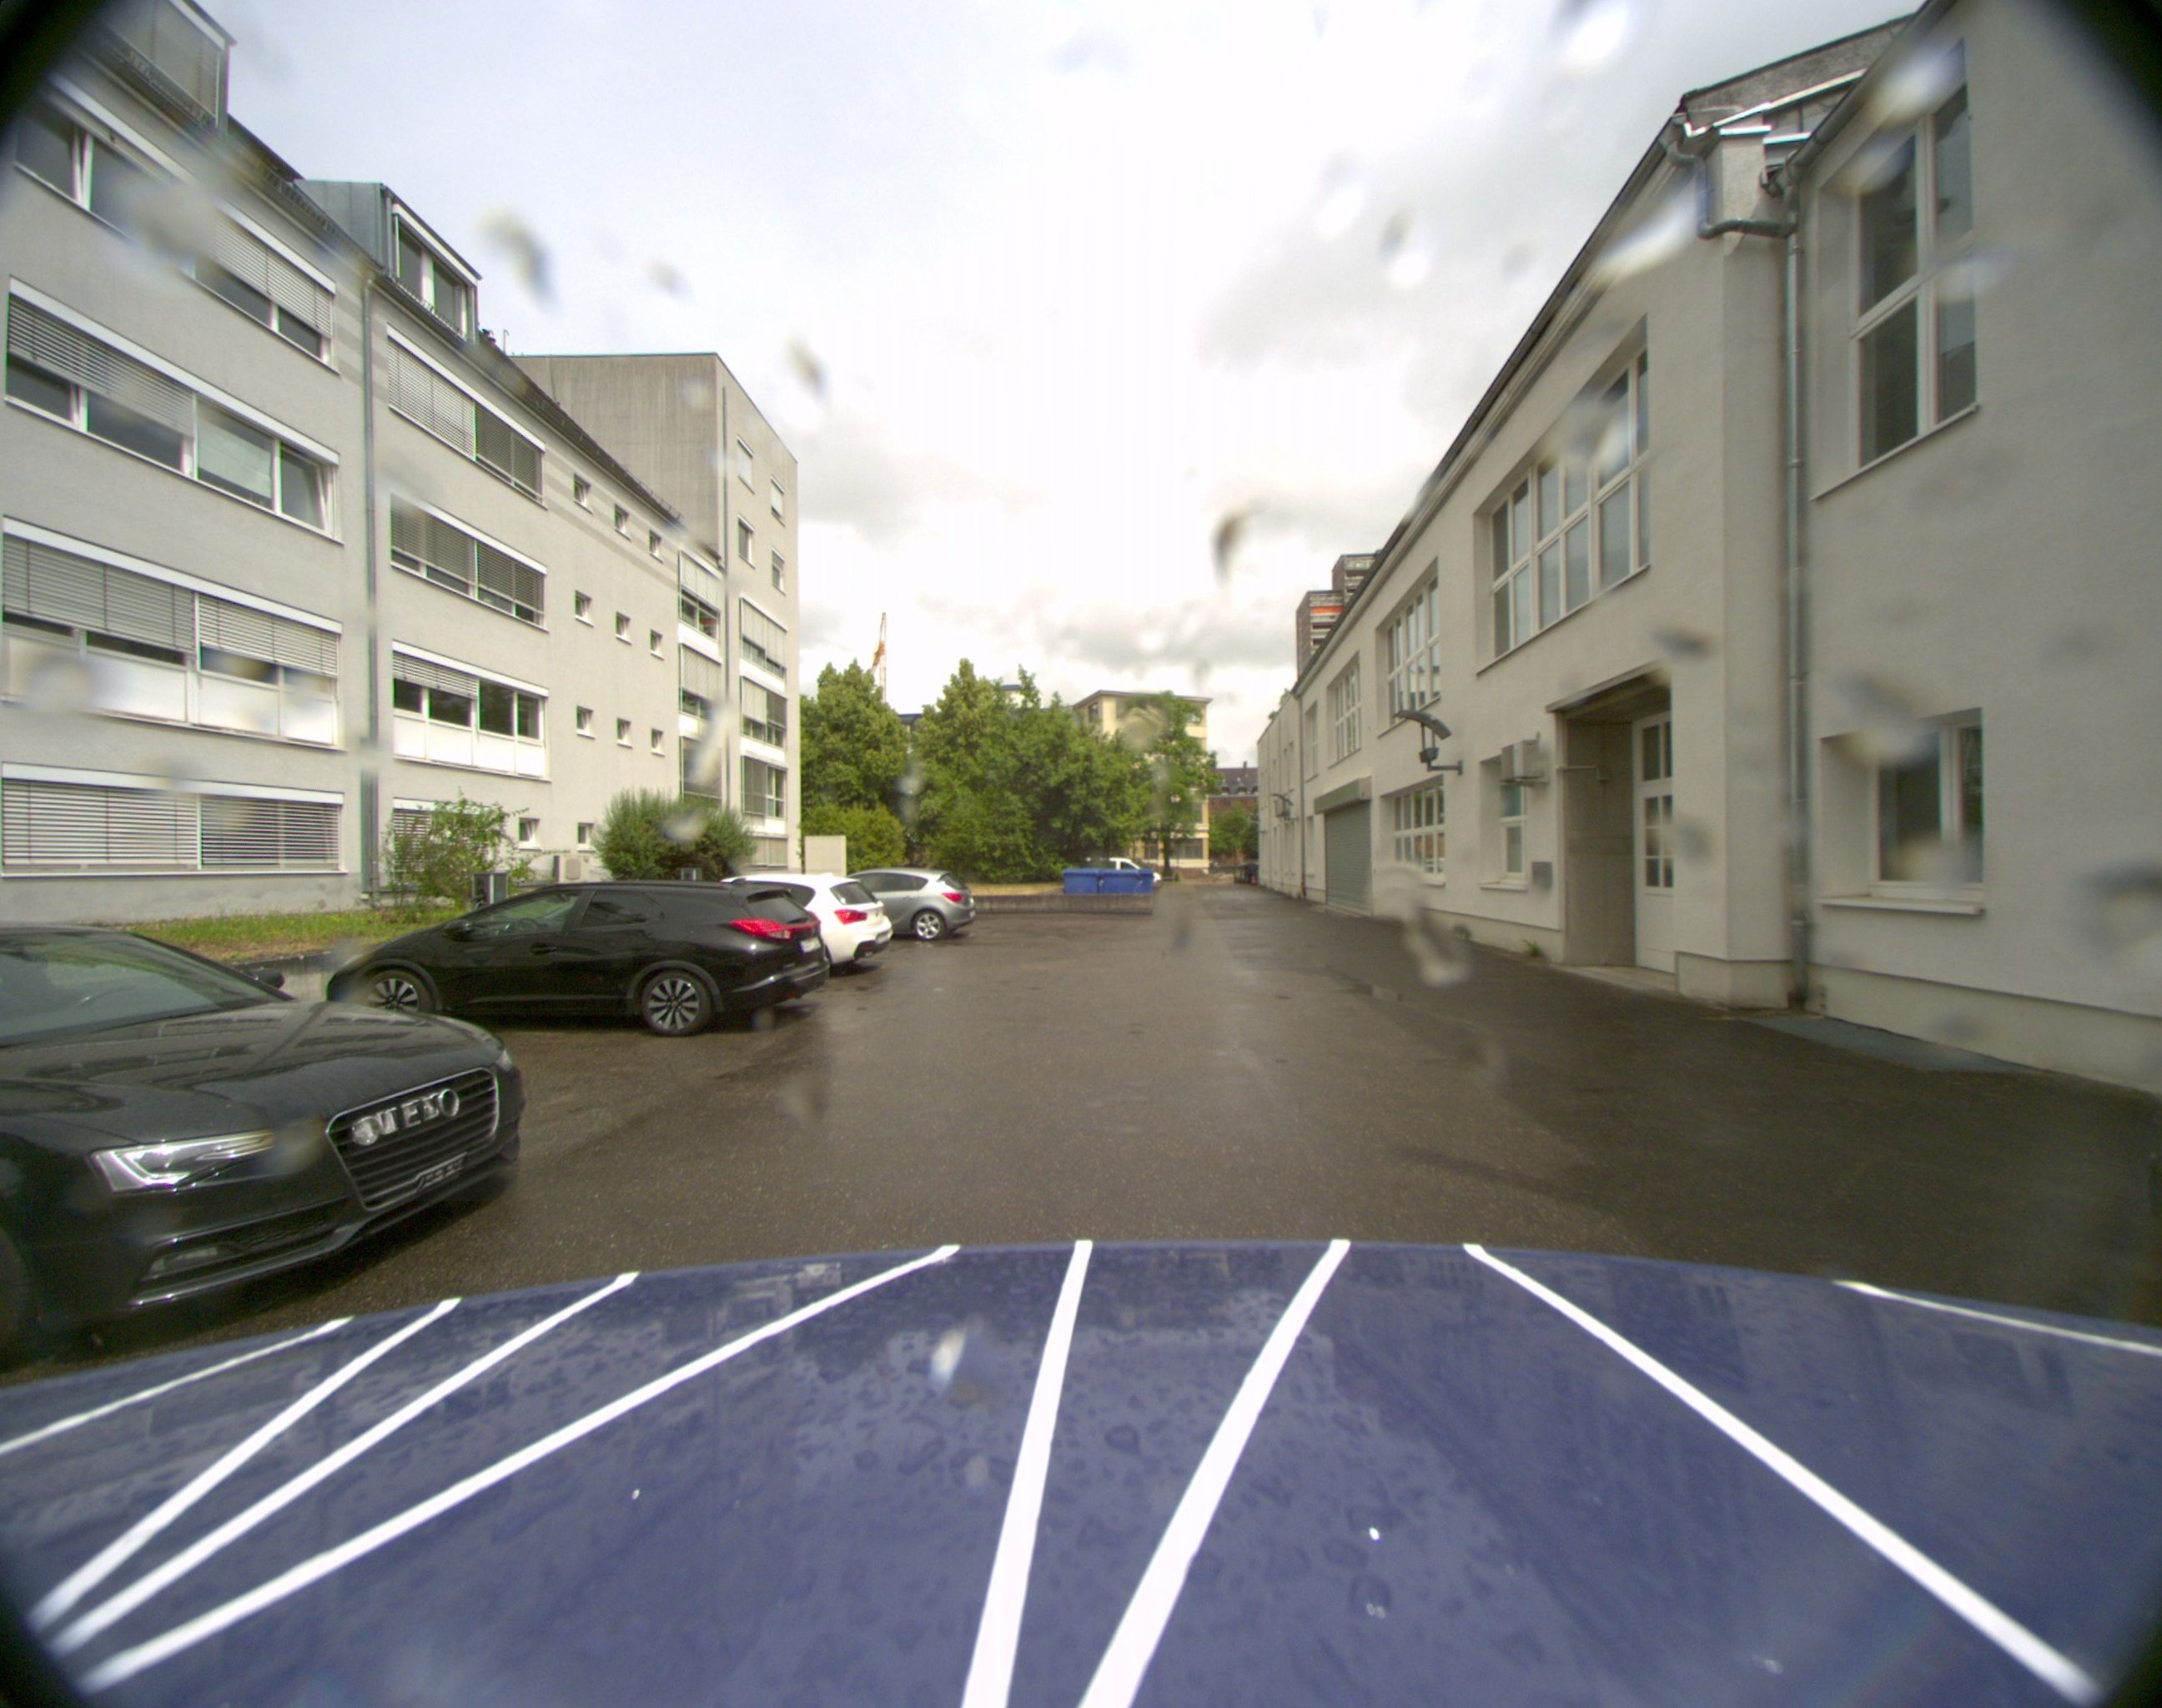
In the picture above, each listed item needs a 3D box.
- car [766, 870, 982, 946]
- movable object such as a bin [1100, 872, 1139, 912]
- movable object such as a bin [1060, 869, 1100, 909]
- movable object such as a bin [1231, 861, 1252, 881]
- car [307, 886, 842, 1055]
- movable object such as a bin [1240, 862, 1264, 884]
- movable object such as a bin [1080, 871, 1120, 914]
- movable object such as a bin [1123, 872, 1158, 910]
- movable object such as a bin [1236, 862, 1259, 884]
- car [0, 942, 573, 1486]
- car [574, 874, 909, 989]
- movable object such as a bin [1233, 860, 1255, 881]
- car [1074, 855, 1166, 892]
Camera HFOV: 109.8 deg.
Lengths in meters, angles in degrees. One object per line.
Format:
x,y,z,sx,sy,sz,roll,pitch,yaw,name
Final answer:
-4.286,1.097,16.130,4.089,1.449,1.668,0,1,3,car
1.316,1.250,25.490,1.232,1.309,1.056,0,-1,7,movable object such as a bin
-0.009,1.177,25.651,1.232,1.309,1.056,0,-1,7,movable object such as a bin
12.062,1.274,57.149,1.412,1.461,1.562,-2,-1,7,movable object such as a bin
-4.848,1.089,7.784,4.180,1.393,1.939,0,0,0,car
11.444,1.267,50.963,1.362,1.461,1.367,-2,-1,7,movable object such as a bin
0.675,1.350,26.895,1.277,1.474,1.102,-2,-1,7,movable object such as a bin
2.154,1.320,27.233,1.176,1.309,1.056,-2,-1,7,movable object such as a bin
11.519,1.324,52.682,1.362,1.461,1.367,-2,-1,7,movable object such as a bin
-4.884,1.128,3.100,4.364,1.340,1.860,0,-1,0,car
-4.826,1.068,11.192,4.107,1.447,1.833,1,0,3,car
11.886,1.236,55.519,1.362,1.461,1.466,-2,-1,7,movable object such as a bin
2.219,1.091,42.846,4.945,2.002,2.002,-1,0,10,car
